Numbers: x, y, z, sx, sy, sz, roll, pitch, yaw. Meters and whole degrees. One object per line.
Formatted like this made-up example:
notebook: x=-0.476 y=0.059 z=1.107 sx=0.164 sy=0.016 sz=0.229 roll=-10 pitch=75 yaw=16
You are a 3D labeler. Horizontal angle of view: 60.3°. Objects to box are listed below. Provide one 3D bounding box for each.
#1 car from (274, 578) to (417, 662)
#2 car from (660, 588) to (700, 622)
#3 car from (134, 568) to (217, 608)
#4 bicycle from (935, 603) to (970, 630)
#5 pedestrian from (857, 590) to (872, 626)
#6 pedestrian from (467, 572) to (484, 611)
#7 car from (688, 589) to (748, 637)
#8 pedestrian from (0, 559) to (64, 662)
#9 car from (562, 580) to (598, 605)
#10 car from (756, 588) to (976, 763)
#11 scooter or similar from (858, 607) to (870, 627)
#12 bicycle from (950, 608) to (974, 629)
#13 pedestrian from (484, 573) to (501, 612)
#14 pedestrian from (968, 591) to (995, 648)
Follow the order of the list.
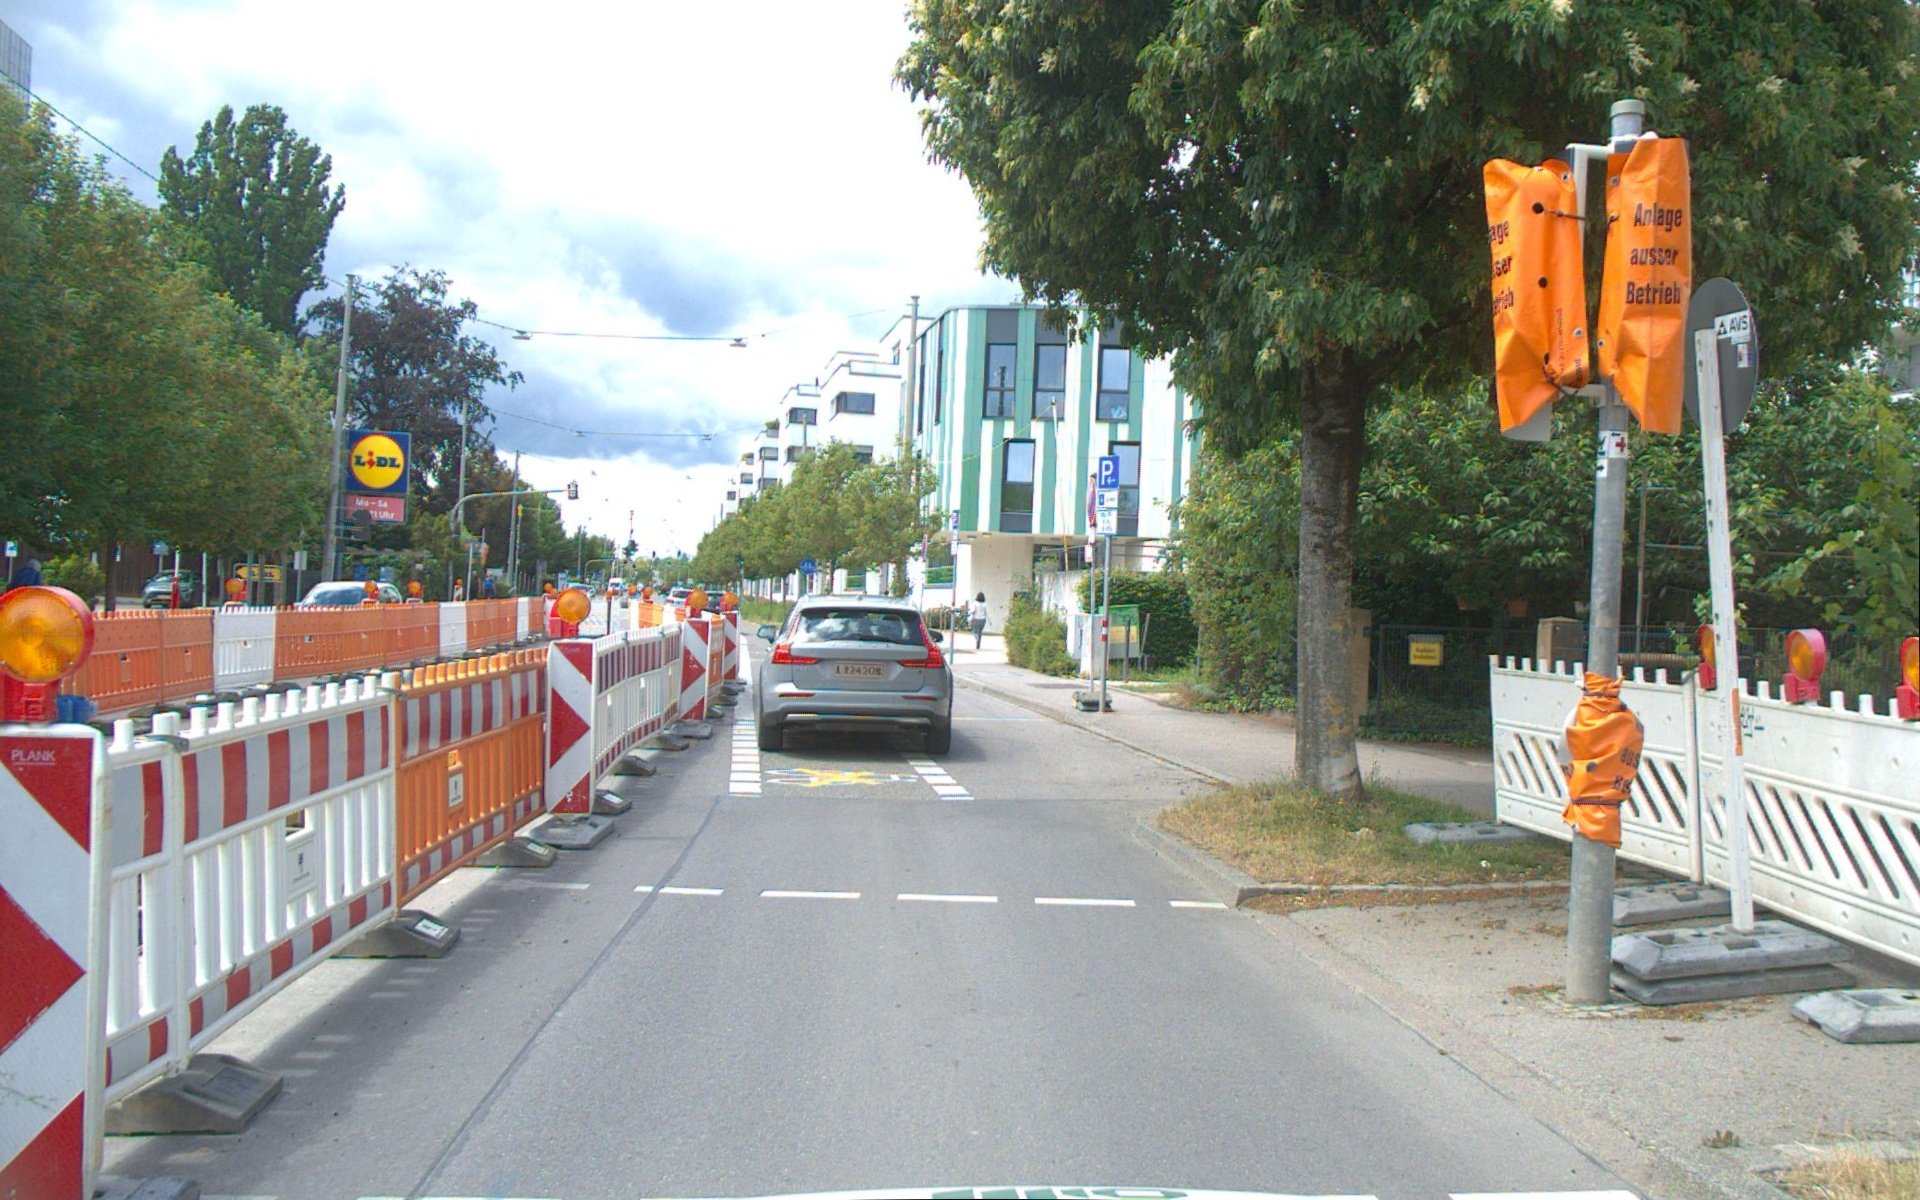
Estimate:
car: x=-12.071 y=0.360 z=32.722 sx=1.820 sy=1.478 sz=3.992 roll=3 pitch=0 yaw=-9
car: x=-14.280 y=0.236 z=84.228 sx=1.812 sy=1.539 sz=3.989 roll=3 pitch=0 yaw=-12
car: x=-30.805 y=-0.450 z=65.075 sx=1.958 sy=1.478 sz=3.989 roll=2 pitch=0 yaw=-11
bicycle: x=-0.307 y=0.686 z=68.491 sx=1.445 sy=1.064 sz=0.305 roll=1 pitch=0 yaw=-24
pedestrian: x=-4.480 y=0.391 z=77.963 sx=0.594 sy=1.684 sz=0.550 roll=2 pitch=0 yaw=-12
pedestrian: x=-23.668 y=-0.408 z=80.804 sx=0.669 sy=1.887 sz=0.705 roll=2 pitch=-1 yaw=-11
car: x=-8.688 y=0.436 z=59.101 sx=1.822 sy=1.539 sz=3.989 roll=3 pitch=0 yaw=-12
pedestrian: x=-15.048 y=0.162 z=26.750 sx=0.739 sy=1.631 sz=0.827 roll=2 pitch=0 yaw=-14
car: x=-24.341 y=-0.483 z=106.021 sx=1.819 sy=1.539 sz=3.994 roll=2 pitch=0 yaw=-7
car: x=-1.071 y=0.667 z=16.756 sx=1.820 sy=1.539 sz=3.992 roll=1 pitch=0 yaw=-9
scooter or similar: x=-4.500 y=0.775 z=77.501 sx=0.414 sy=0.921 sz=0.680 roll=2 pitch=0 yaw=-11
bicycle: x=0.076 y=0.761 z=67.471 sx=1.017 sy=0.856 sz=0.302 roll=1 pitch=0 yaw=-44
pedestrian: x=-22.904 y=-0.377 z=81.028 sx=0.669 sy=1.887 sz=0.890 roll=2 pitch=-1 yaw=-11
pedestrian: x=0.608 y=0.540 z=46.531 sx=0.570 sy=1.579 sz=0.866 roll=2 pitch=0 yaw=-11
